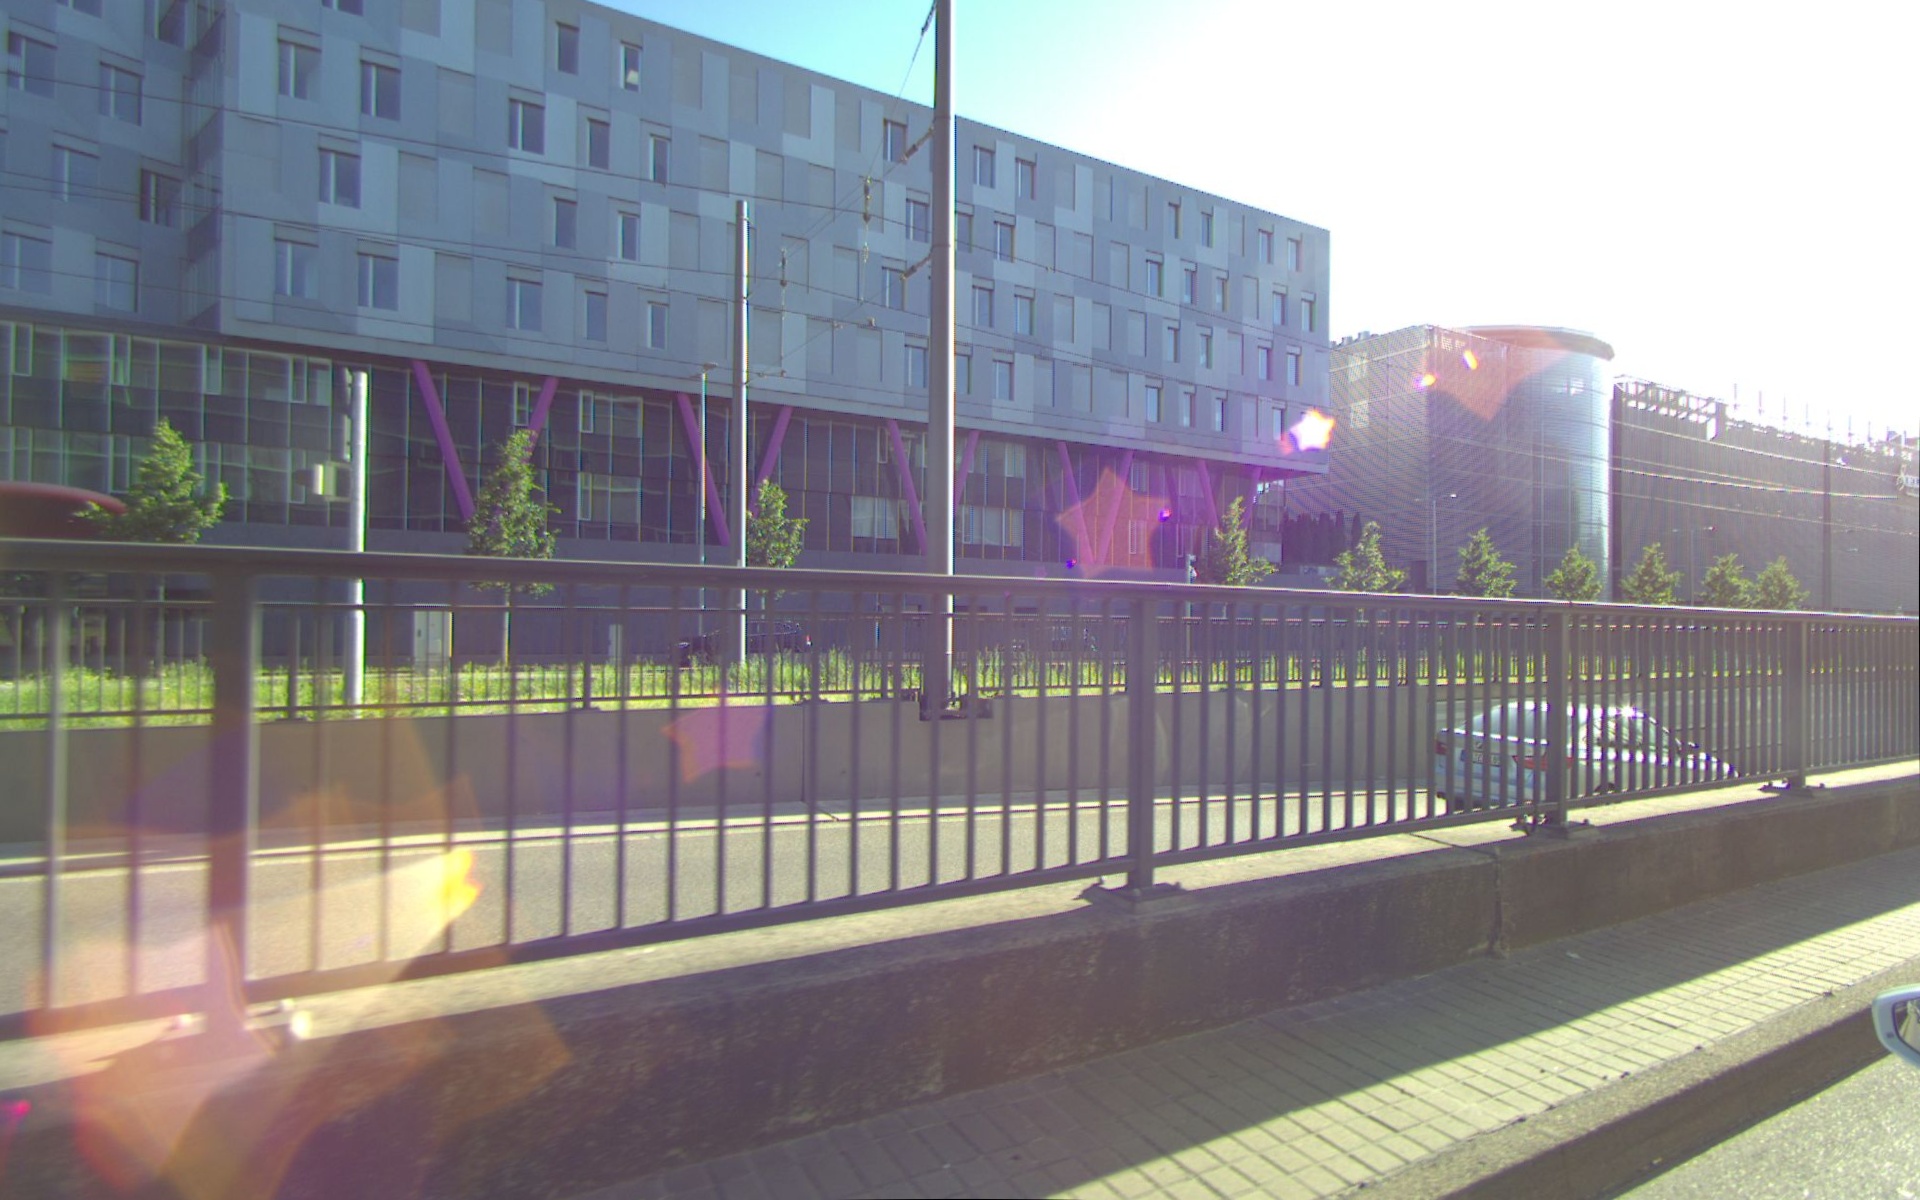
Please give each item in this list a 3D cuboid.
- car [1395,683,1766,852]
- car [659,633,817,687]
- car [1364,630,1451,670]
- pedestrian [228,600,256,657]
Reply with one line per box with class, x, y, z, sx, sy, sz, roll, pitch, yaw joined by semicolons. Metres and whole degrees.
car;7.889;1.943;12.657;4.850;1.547;1.791;1;0;-29
car;-7.115;1.889;32.353;4.660;1.547;1.791;1;0;-29
car;21.745;2.405;48.790;3.954;1.863;1.984;1;-2;-31
pedestrian;-25.953;1.025;36.316;0.681;2.040;0.733;1;-1;-29
